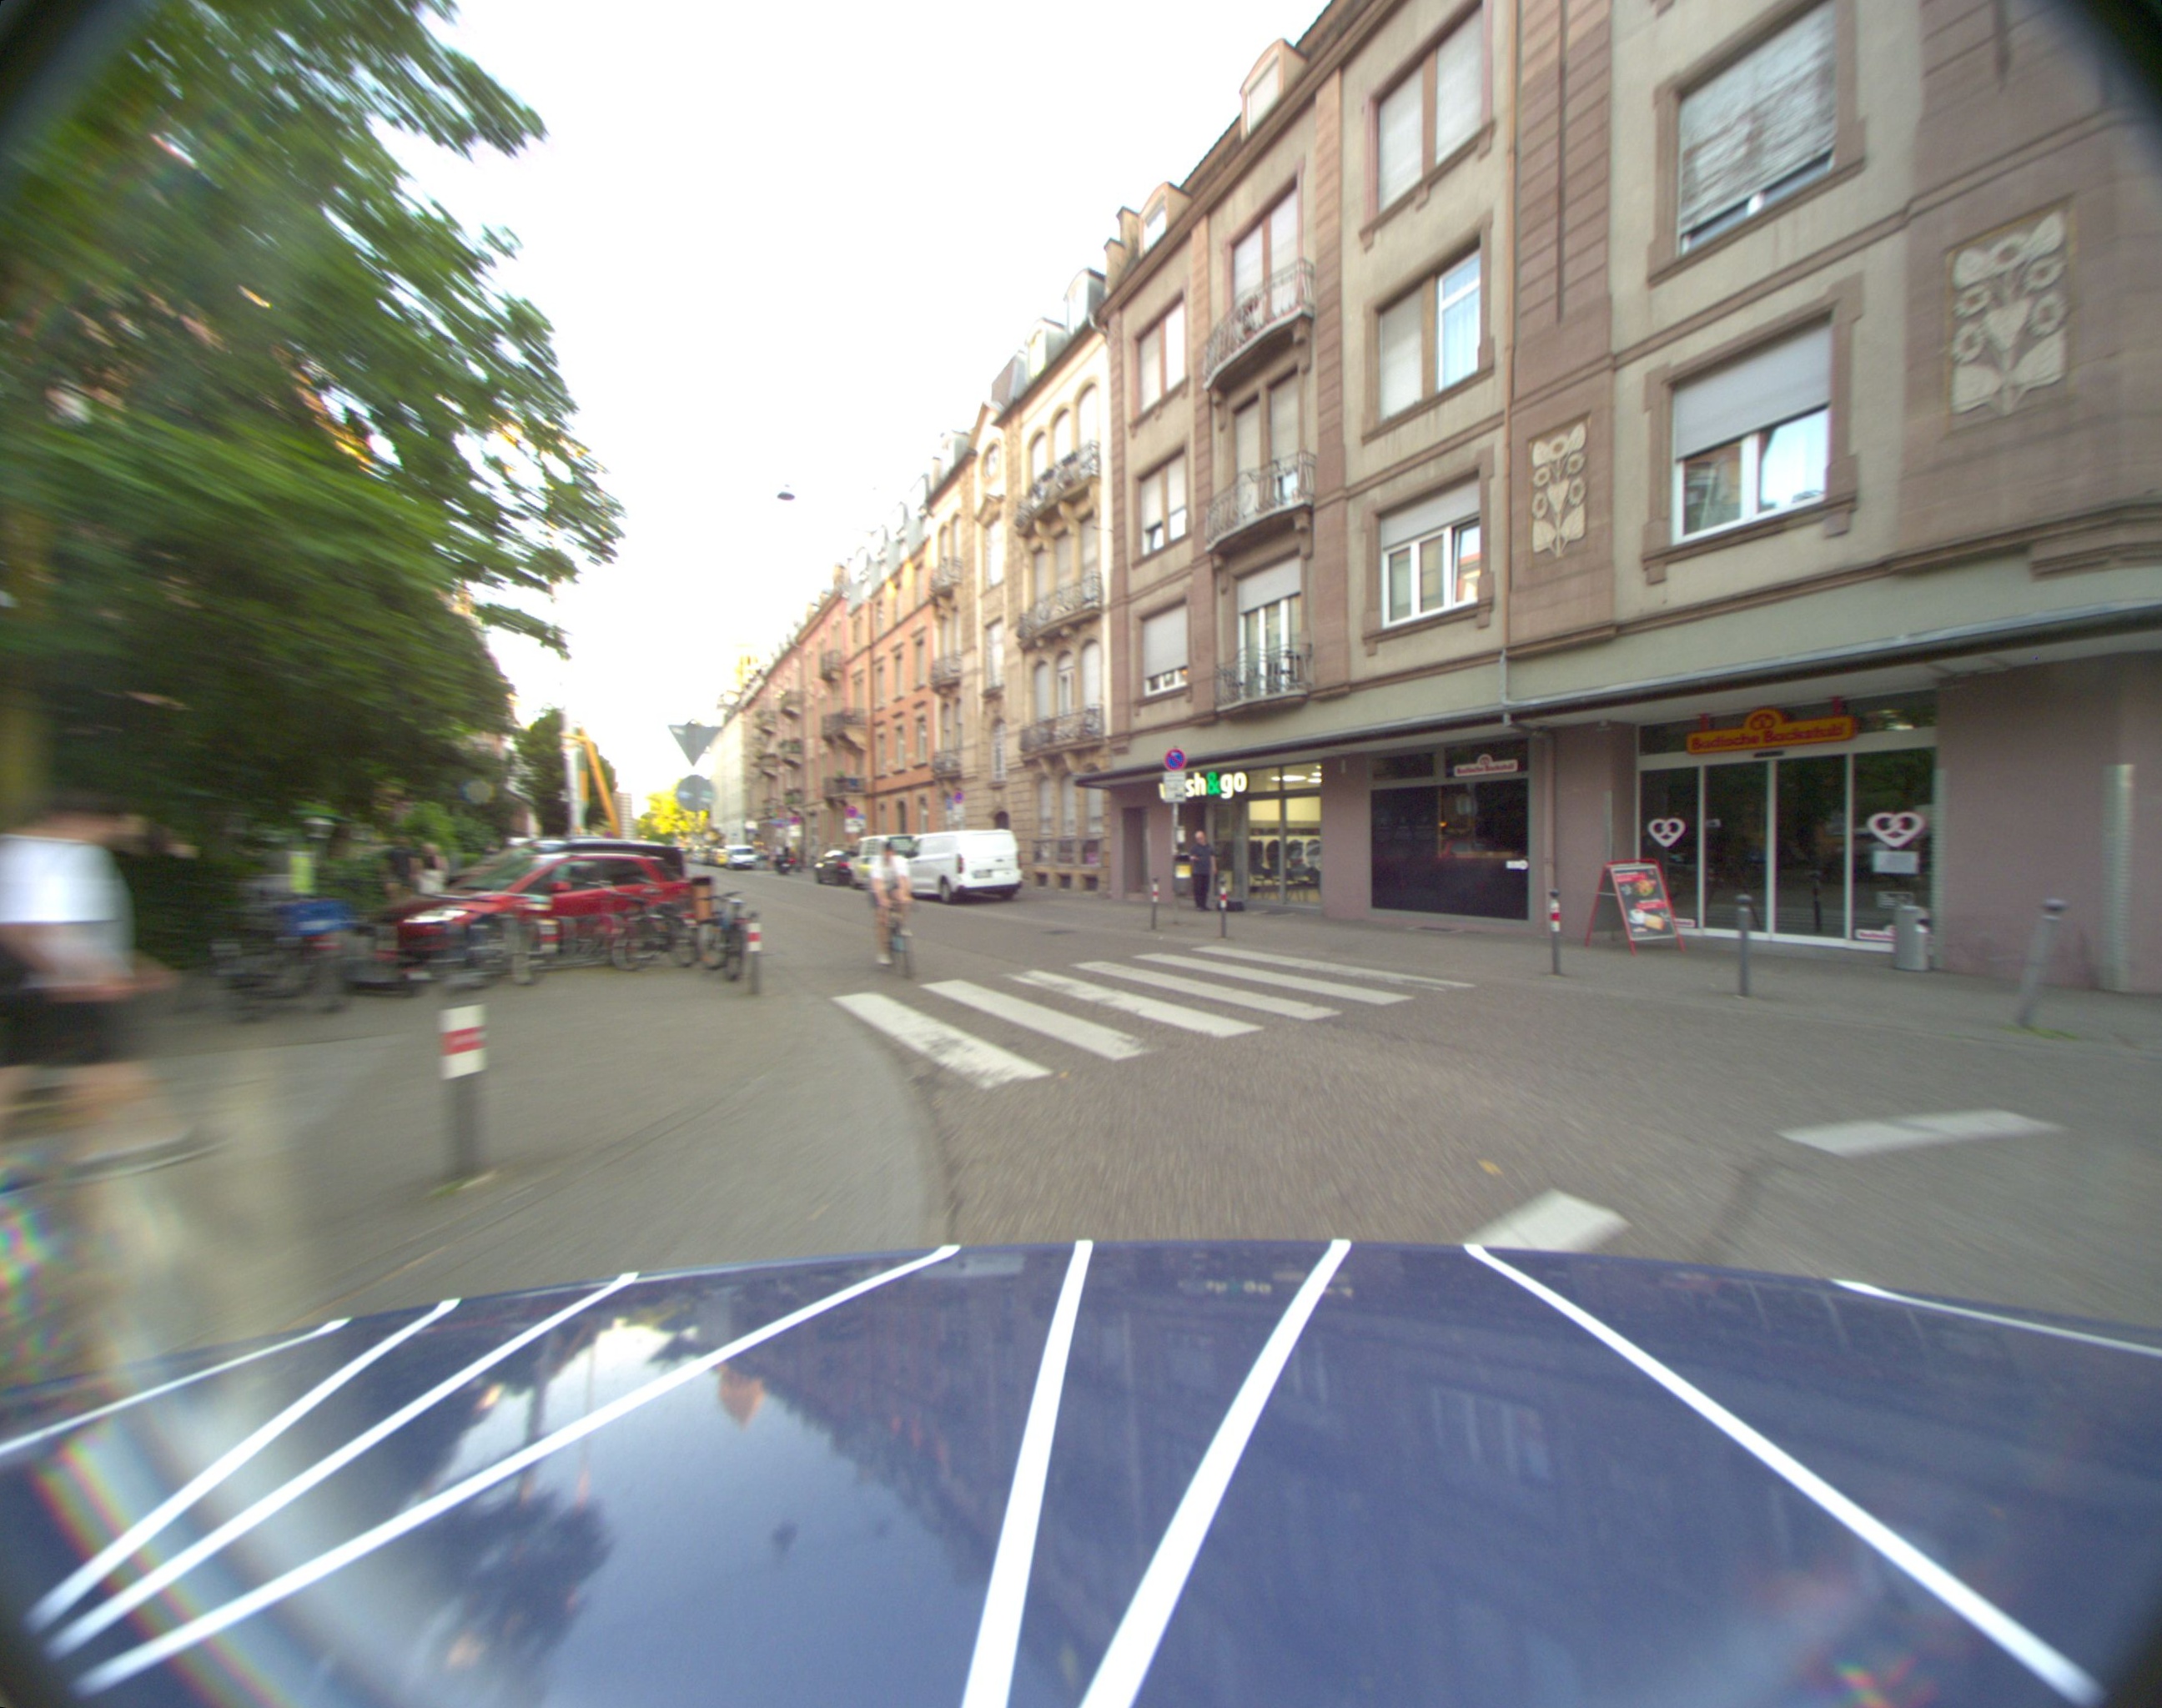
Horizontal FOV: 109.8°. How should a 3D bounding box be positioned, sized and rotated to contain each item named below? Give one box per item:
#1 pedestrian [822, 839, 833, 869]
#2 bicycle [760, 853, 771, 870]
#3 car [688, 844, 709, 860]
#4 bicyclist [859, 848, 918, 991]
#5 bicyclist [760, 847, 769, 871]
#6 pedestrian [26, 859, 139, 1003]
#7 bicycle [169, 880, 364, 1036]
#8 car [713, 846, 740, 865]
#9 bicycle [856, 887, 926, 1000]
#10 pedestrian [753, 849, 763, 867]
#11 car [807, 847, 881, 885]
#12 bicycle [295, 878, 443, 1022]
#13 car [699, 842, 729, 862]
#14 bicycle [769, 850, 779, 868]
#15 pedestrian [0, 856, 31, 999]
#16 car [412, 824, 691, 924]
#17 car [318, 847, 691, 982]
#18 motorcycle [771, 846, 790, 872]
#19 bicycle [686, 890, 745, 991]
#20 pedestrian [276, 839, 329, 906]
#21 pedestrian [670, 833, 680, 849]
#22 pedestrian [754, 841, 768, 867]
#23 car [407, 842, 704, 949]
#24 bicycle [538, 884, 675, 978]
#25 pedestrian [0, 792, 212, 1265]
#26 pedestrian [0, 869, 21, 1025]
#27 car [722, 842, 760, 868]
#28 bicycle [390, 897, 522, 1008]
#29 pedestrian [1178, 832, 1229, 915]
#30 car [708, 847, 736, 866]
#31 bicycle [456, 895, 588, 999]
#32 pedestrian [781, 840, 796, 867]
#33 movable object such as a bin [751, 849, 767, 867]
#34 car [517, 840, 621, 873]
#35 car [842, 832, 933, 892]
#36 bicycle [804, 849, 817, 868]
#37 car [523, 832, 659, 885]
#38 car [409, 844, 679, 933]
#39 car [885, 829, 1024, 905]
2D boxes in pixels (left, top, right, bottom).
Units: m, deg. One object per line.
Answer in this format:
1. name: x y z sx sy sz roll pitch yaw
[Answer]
1. pedestrian: -15.136 -0.018 45.370 0.465 1.779 0.640 -3 3 -28
2. bicycle: -20.958 0.507 50.437 0.468 1.062 1.516 -3 3 -28
3. car: -43.018 -0.264 85.501 1.734 1.638 3.906 -3 2 -31
4. bicyclist: -2.446 0.785 9.609 0.529 1.694 0.788 -3 3 -24
5. bicyclist: -21.074 0.308 50.619 0.468 1.582 0.486 -3 3 -28
6. pedestrian: -10.356 0.771 7.904 0.555 1.401 0.513 -4 4 -44
7. bicycle: -7.468 0.894 6.961 1.719 1.281 0.599 -1 2 22
8. car: -30.250 0.069 64.777 1.713 1.521 3.783 -2 2 -30
9. bicycle: -2.430 1.064 9.593 0.521 1.149 1.779 -3 3 -24
10. pedestrian: -23.003 0.281 54.138 0.480 1.244 0.651 -3 3 -31
11. car: -10.041 0.443 31.987 1.846 1.462 4.161 -2 2 -33
12. bicycle: -7.318 0.919 7.793 1.764 1.281 0.600 0 3 32
13. car: -35.328 -0.200 73.063 1.937 1.872 4.892 -2 2 -32
14. bicycle: -20.915 0.327 51.706 0.468 1.149 1.995 -3 3 -24
15. pedestrian: -10.972 0.738 7.494 0.555 1.401 0.513 -4 4 -44
16. car: -12.563 0.463 18.617 1.929 2.060 5.446 1 -1 21
17. car: -8.179 0.745 11.241 1.688 1.618 4.057 -1 -1 27
18. motorcycle: -17.243 0.268 43.600 0.688 1.397 2.009 -3 3 -29
19. bicycle: -4.575 1.031 9.479 0.366 1.058 1.548 -4 3 -35
20. pedestrian: -16.536 0.375 16.157 0.590 1.358 0.695 -4 3 -35
21. pedestrian: -71.531 -2.313 133.854 1.448 2.726 1.009 -3 3 -33
22. pedestrian: -22.518 -0.011 53.479 0.601 1.804 0.718 -4 4 -40
23. car: -9.561 0.695 14.294 1.929 1.678 4.232 1 -1 21
24. bicycle: -6.508 1.024 10.488 0.364 1.154 1.555 1 1 44
25. pedestrian: -4.532 0.654 3.053 0.868 1.760 0.947 -2 3 -10
26. pedestrian: -10.146 0.854 6.778 0.640 1.401 0.513 -4 4 -44
27. car: -25.134 0.031 56.038 1.779 1.779 4.575 -3 3 -33
28. bicycle: -7.033 1.051 8.523 1.764 1.057 0.600 1 0 32
29. pedestrian: 2.588 0.395 16.079 0.712 1.669 0.734 -3 3 -31
30. car: -32.438 0.194 68.576 1.936 1.587 3.959 -2 2 -30
31. bicycle: -6.687 1.060 9.064 1.764 1.058 0.600 0 3 32
32. pedestrian: -20.329 -0.045 52.821 0.685 1.800 0.958 -4 3 -36
33. movable object such as a bin: -22.892 0.281 54.064 0.891 1.244 0.774 -3 3 -31
34. car: -31.234 0.203 46.542 5.199 1.944 1.894 1 -1 -32
35. car: -7.012 0.220 27.152 1.846 1.910 4.833 -2 2 -31
36. bicycle: -17.263 0.300 48.523 0.413 1.153 1.833 -3 3 -30
37. car: -22.905 0.175 35.756 1.994 2.349 4.948 0 1 33
38. car: -11.095 0.655 16.077 1.928 1.612 4.233 1 -1 25
39. car: -3.798 0.285 22.051 2.120 1.910 5.012 -2 2 -33
